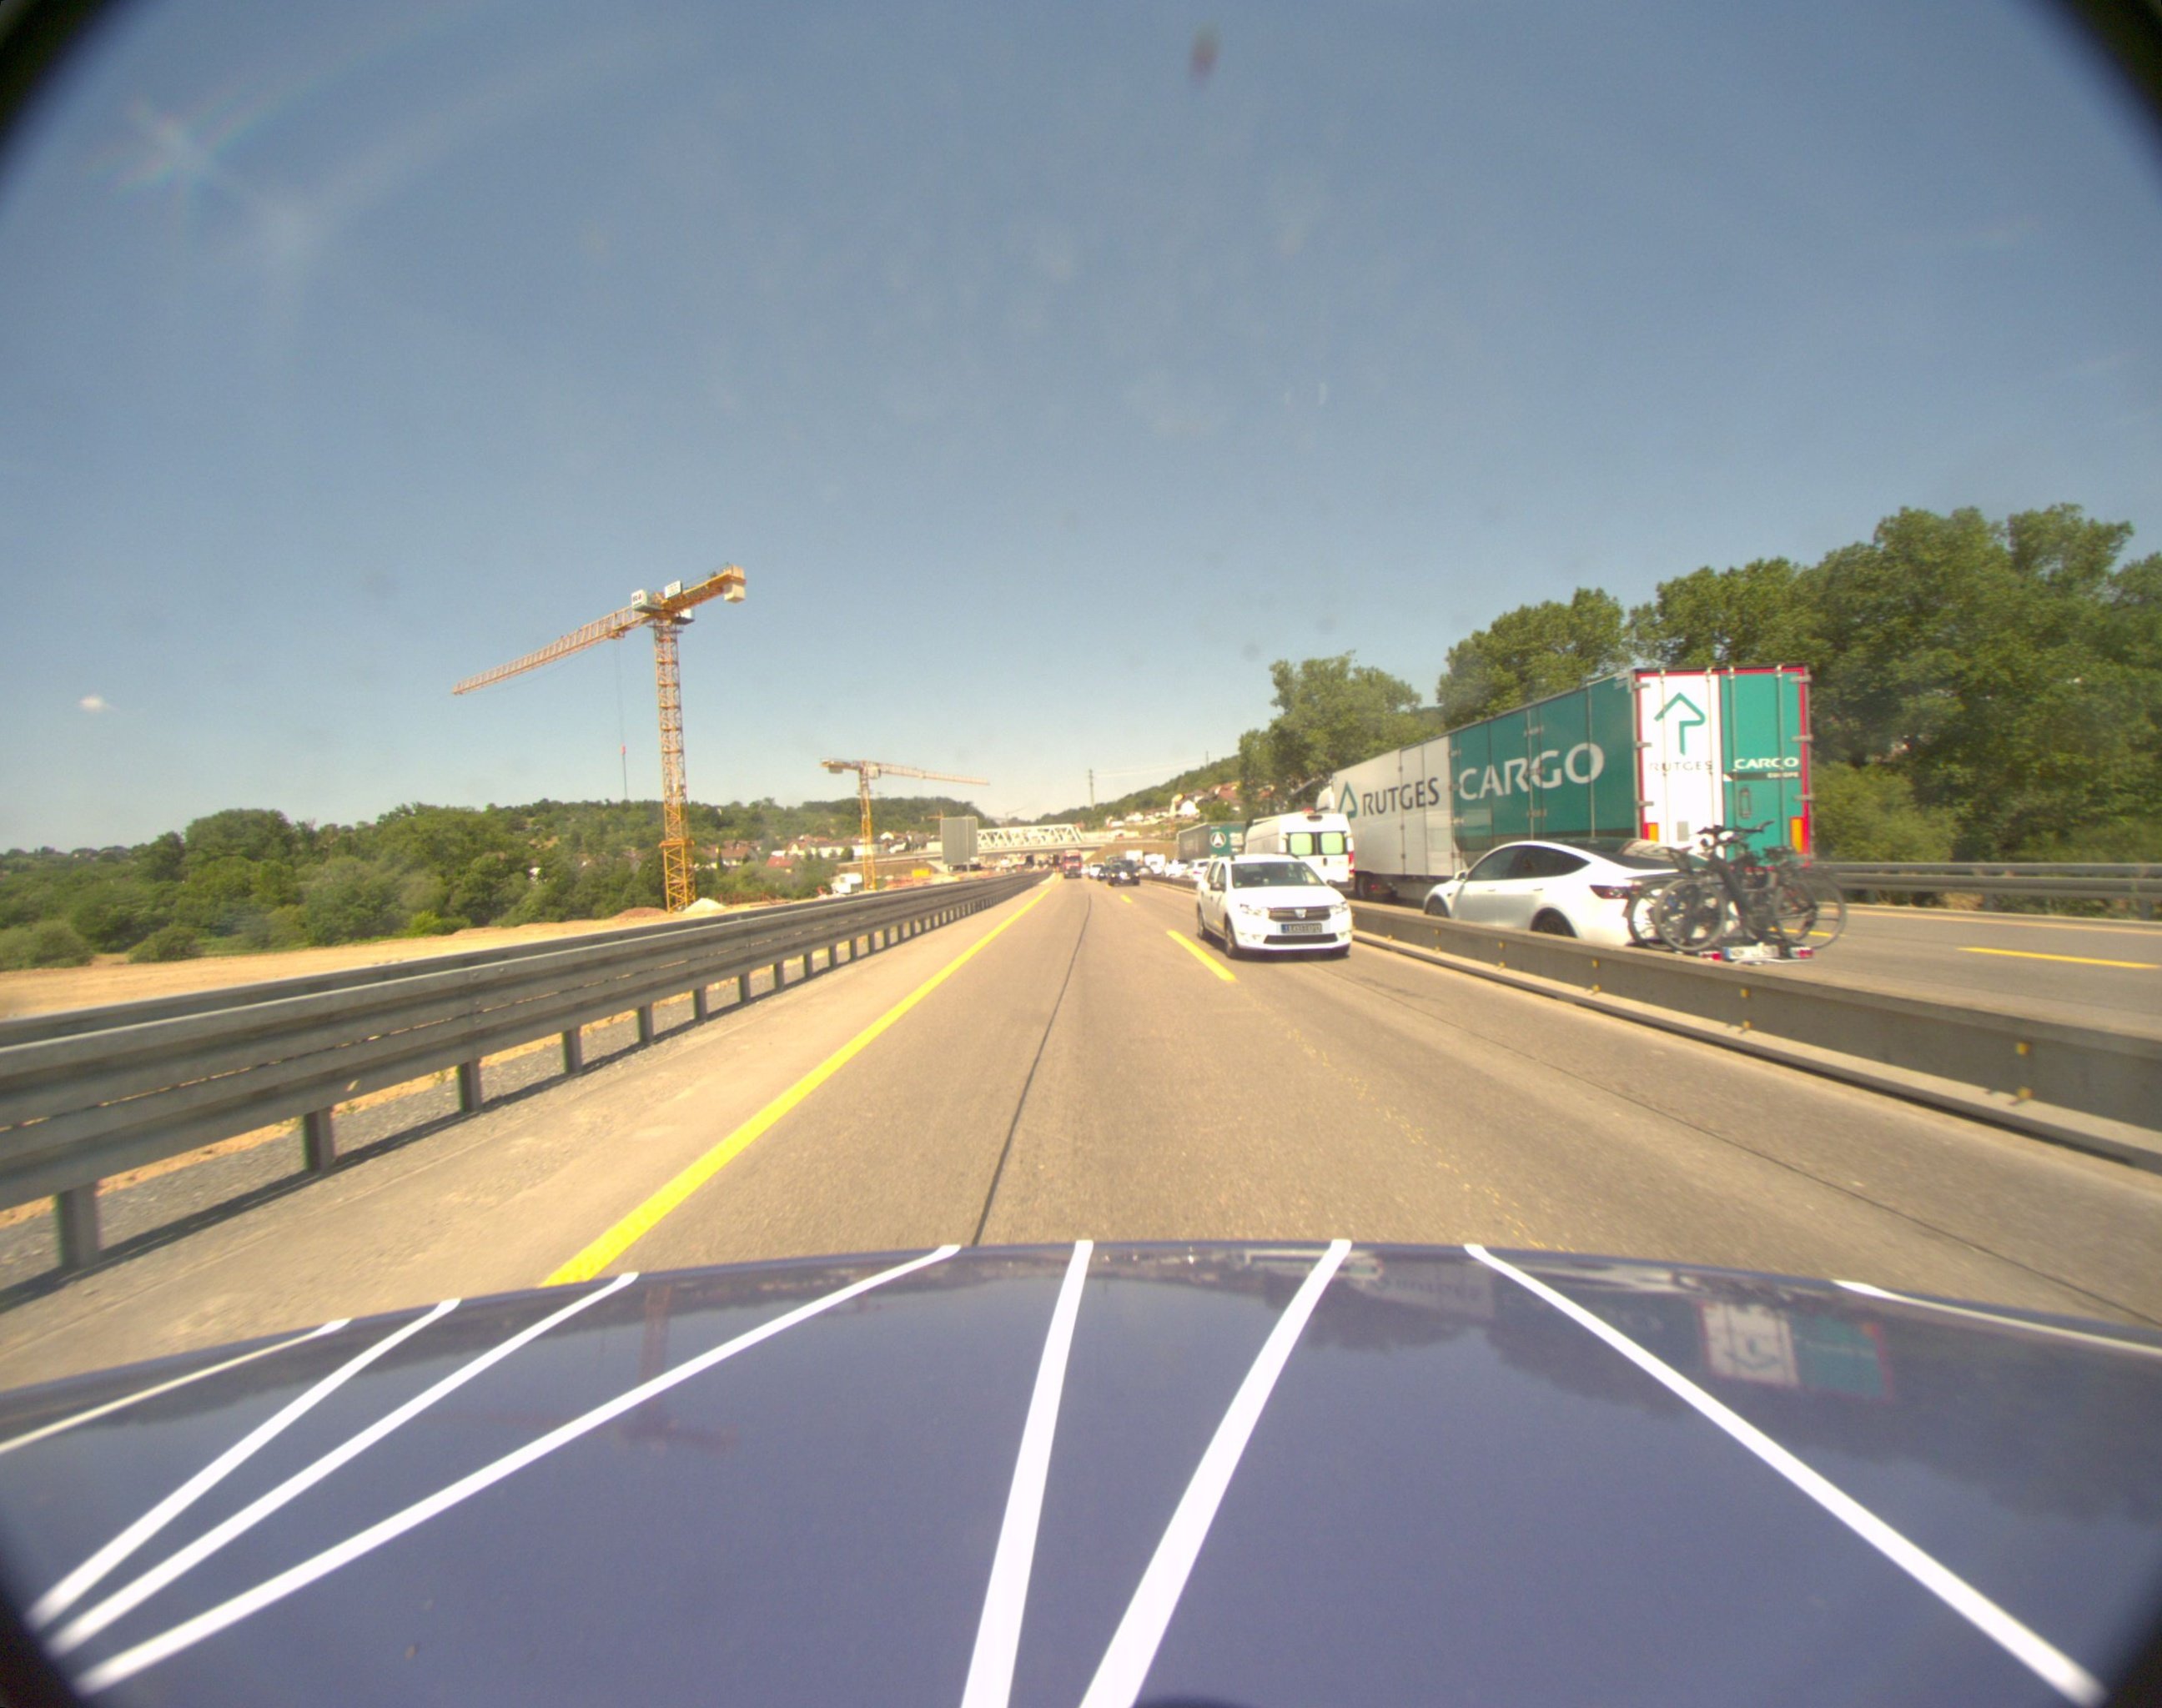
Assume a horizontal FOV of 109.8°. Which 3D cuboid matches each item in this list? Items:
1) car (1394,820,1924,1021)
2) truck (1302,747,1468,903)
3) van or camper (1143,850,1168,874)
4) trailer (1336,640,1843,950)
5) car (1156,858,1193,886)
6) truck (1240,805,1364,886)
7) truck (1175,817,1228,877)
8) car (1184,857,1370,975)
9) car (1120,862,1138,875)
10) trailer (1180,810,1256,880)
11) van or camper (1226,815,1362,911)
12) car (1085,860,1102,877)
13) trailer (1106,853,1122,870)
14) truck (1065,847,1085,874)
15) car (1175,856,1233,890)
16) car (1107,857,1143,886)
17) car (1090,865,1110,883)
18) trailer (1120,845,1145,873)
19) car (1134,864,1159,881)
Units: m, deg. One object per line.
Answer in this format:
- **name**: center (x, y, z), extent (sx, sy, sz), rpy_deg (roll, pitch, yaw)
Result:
- **car**: center (6.474, 0.654, 9.834), extent (2.378, 1.716, 5.781), rpy_deg (-3, -1, 0)
- **truck**: center (9.614, -0.782, 24.883), extent (2.813, 4.366, 6.225), rpy_deg (-2, -1, 0)
- **van or camper**: center (9.071, 1.001, 93.165), extent (2.510, 2.682, 5.244), rpy_deg (-2, -1, 0)
- **trailer**: center (9.566, -0.852, 17.552), extent (2.822, 4.404, 13.167), rpy_deg (-2, 0, 0)
- **car**: center (6.130, 1.182, 50.243), extent (1.761, 1.636, 4.156), rpy_deg (-4, -1, -1)
- **truck**: center (11.466, -0.312, 40.540), extent (2.913, 3.742, 8.363), rpy_deg (-3, -1, -9)
- **truck**: center (9.691, -0.459, 62.014), extent (3.085, 4.509, 7.103), rpy_deg (-2, -1, 0)
- **car**: center (2.944, 0.854, 12.513), extent (1.823, 1.521, 4.706), rpy_deg (-2, -1, 0)
- **car**: center (5.868, 1.742, 92.686), extent (1.782, 1.412, 4.538), rpy_deg (-4, -1, 0)
- **trailer**: center (9.718, -0.496, 55.754), extent (3.110, 4.438, 13.020), rpy_deg (-1, -1, 0)
- **van or camper**: center (6.328, 0.285, 23.597), extent (2.224, 2.496, 6.533), rpy_deg (-2, -1, -1)
- **car**: center (1.407, 1.698, 89.015), extent (1.791, 1.870, 4.001), rpy_deg (-4, -1, 0)
- **trailer**: center (7.203, 1.739, 168.477), extent (2.802, 3.650, 8.956), rpy_deg (0, -1, -2)
- **truck**: center (-0.790, 0.914, 109.151), extent (2.702, 3.704, 8.508), rpy_deg (-2, 0, 0)
- **car**: center (6.096, 0.932, 38.133), extent (1.999, 1.489, 4.975), rpy_deg (-3, -1, 0)
- **car**: center (2.749, 1.095, 48.294), extent (1.862, 1.682, 4.097), rpy_deg (-2, 0, -2)
- **car**: center (1.797, 1.925, 72.778), extent (1.791, 1.578, 4.001), rpy_deg (-4, -1, 0)
- **trailer**: center (8.348, 0.899, 124.238), extent (2.814, 4.151, 11.799), rpy_deg (-2, -1, -1)
- **car**: center (6.223, 1.748, 72.678), extent (1.870, 1.450, 4.608), rpy_deg (-4, -1, 0)
